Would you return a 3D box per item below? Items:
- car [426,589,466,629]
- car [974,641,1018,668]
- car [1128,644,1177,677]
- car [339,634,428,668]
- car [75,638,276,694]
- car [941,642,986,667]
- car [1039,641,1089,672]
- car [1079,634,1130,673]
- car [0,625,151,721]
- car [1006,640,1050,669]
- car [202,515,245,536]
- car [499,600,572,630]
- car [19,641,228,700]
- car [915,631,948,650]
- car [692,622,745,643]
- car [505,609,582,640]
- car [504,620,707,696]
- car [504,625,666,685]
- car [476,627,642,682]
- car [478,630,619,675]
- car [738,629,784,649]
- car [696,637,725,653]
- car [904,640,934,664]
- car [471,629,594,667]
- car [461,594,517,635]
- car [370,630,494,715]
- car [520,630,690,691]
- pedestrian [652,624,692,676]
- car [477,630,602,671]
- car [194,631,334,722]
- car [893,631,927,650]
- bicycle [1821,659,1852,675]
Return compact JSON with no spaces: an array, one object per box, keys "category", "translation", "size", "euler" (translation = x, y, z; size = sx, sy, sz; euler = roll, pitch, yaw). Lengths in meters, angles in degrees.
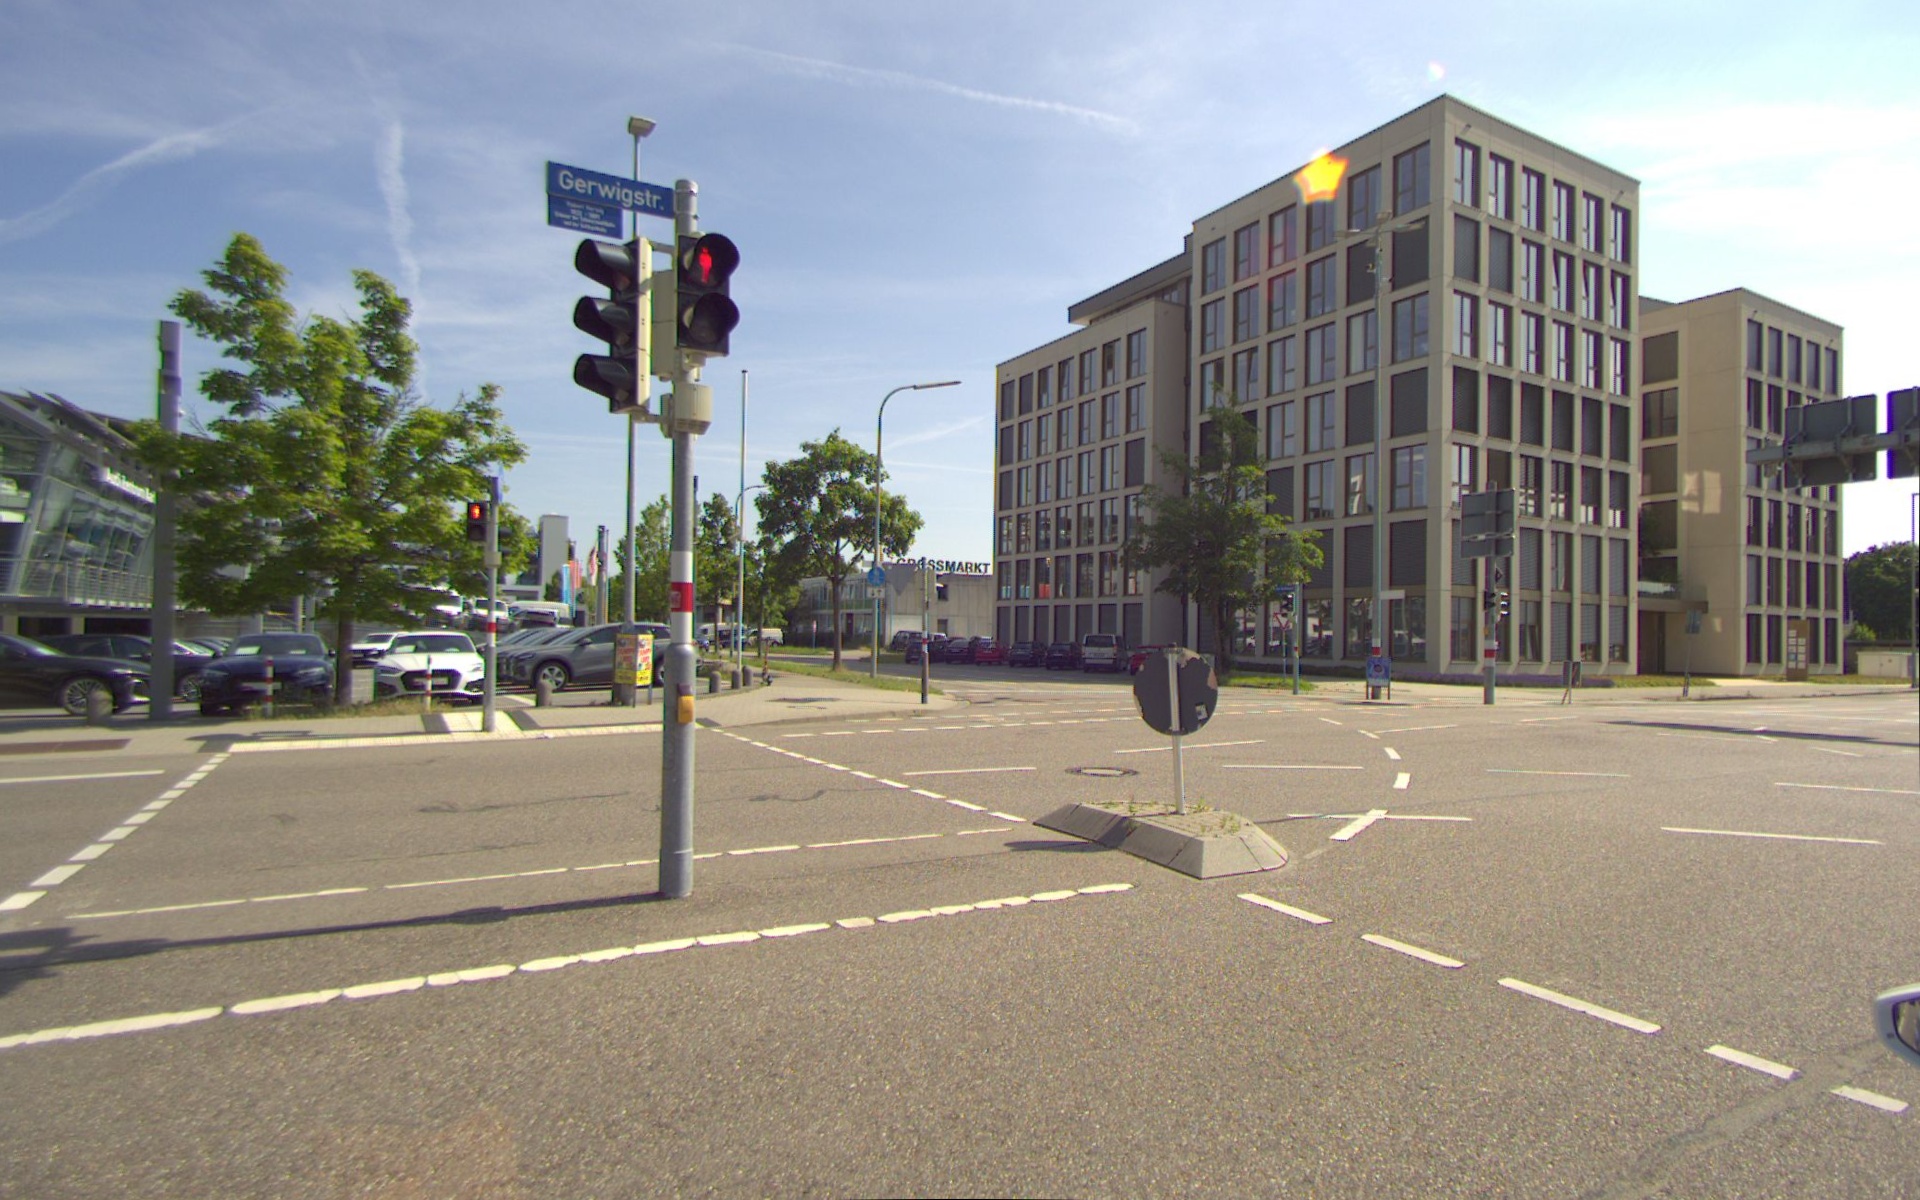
[{"category":"car","translation":[-32.072,0.569,62.603],"size":[2.063,2.373,5.510],"euler":[1,-1,-28]},{"category":"car","translation":[2.197,3.263,60.522],"size":[1.655,1.499,4.001],"euler":[0,-2,18]},{"category":"car","translation":[9.295,2.871,48.295],"size":[1.772,1.434,4.031],"euler":[0,-2,18]},{"category":"car","translation":[-26.530,2.337,46.371],"size":[1.762,1.461,4.028],"euler":[1,-2,0]},{"category":"car","translation":[-21.115,1.769,27.257],"size":[4.018,1.396,1.779],"euler":[2,-2,-31]},{"category":"car","translation":[0.247,3.377,62.823],"size":[1.686,1.434,4.001],"euler":[0,-2,18]},{"category":"car","translation":[5.645,2.995,54.185],"size":[1.772,1.533,4.000],"euler":[0,-2,20]},{"category":"car","translation":[7.458,2.705,51.478],"size":[1.860,1.845,4.816],"euler":[0,-2,17]},{"category":"car","translation":[-16.172,1.156,16.359],"size":[4.372,1.515,1.790],"euler":[2,-2,-30]},{"category":"car","translation":[3.937,3.106,57.724],"size":[1.628,1.517,3.965],"euler":[0,-2,18]},{"category":"car","translation":[-89.557,-9.034,122.173],"size":[3.957,2.040,1.982],"euler":[3,0,-33]},{"category":"car","translation":[-31.327,1.152,74.156],"size":[4.697,2.040,1.984],"euler":[2,-2,-31]},{"category":"car","translation":[-20.214,1.703,24.483],"size":[3.640,1.323,1.598],"euler":[2,-2,-31]},{"category":"car","translation":[-2.728,3.848,96.170],"size":[1.678,1.706,3.940],"euler":[2,-2,-26]},{"category":"car","translation":[-29.564,4.008,122.931],"size":[5.827,2.463,2.361],"euler":[2,-2,-26]},{"category":"car","translation":[-28.811,1.722,69.482],"size":[4.697,2.040,1.984],"euler":[2,-2,-31]},{"category":"car","translation":[-8.828,1.383,25.095],"size":[4.539,1.635,1.806],"euler":[-1,-1,-29]},{"category":"car","translation":[-11.190,1.593,30.041],"size":[4.324,1.565,1.779],"euler":[-1,-1,-31]},{"category":"car","translation":[-12.761,1.700,32.049],"size":[4.721,1.525,1.779],"euler":[-1,-1,-31]},{"category":"car","translation":[-15.108,1.874,36.948],"size":[4.577,1.461,1.779],"euler":[-1,-1,-31]},{"category":"car","translation":[-20.308,3.946,102.372],"size":[4.189,1.965,1.885],"euler":[3,-2,-30]},{"category":"car","translation":[-20.749,3.726,83.415],"size":[1.637,1.306,3.782],"euler":[2,-2,-24]},{"category":"car","translation":[-2.599,3.269,63.714],"size":[1.638,1.434,3.617],"euler":[1,-1,1]},{"category":"car","translation":[-17.724,1.963,41.697],"size":[4.506,1.461,1.779],"euler":[0,-1,-31]},{"category":"car","translation":[-25.175,0.757,53.604],"size":[2.066,1.932,4.509],"euler":[6,-3,-31]},{"category":"car","translation":[-10.161,1.318,19.441],"size":[1.875,1.451,4.357],"euler":[2,-2,-27]},{"category":"car","translation":[-9.744,1.606,27.636],"size":[4.151,1.461,1.779],"euler":[-1,-1,-31]},{"category":"pedestrian","translation":[-9.997,1.729,34.886],"size":[0.984,1.772,0.917],"euler":[0,-2,19]},{"category":"car","translation":[-16.432,1.927,39.324],"size":[4.350,1.461,1.779],"euler":[0,-1,-31]},{"category":"car","translation":[-12.270,1.291,17.920],"size":[1.744,1.421,3.815],"euler":[2,-2,-31]},{"category":"car","translation":[-4.760,3.802,94.736],"size":[1.726,1.706,3.974],"euler":[2,-2,-26]},{"category":"bicycle","translation":[65.776,4.993,75.380],"size":[0.581,1.106,1.696],"euler":[2,-1,-27]}]
